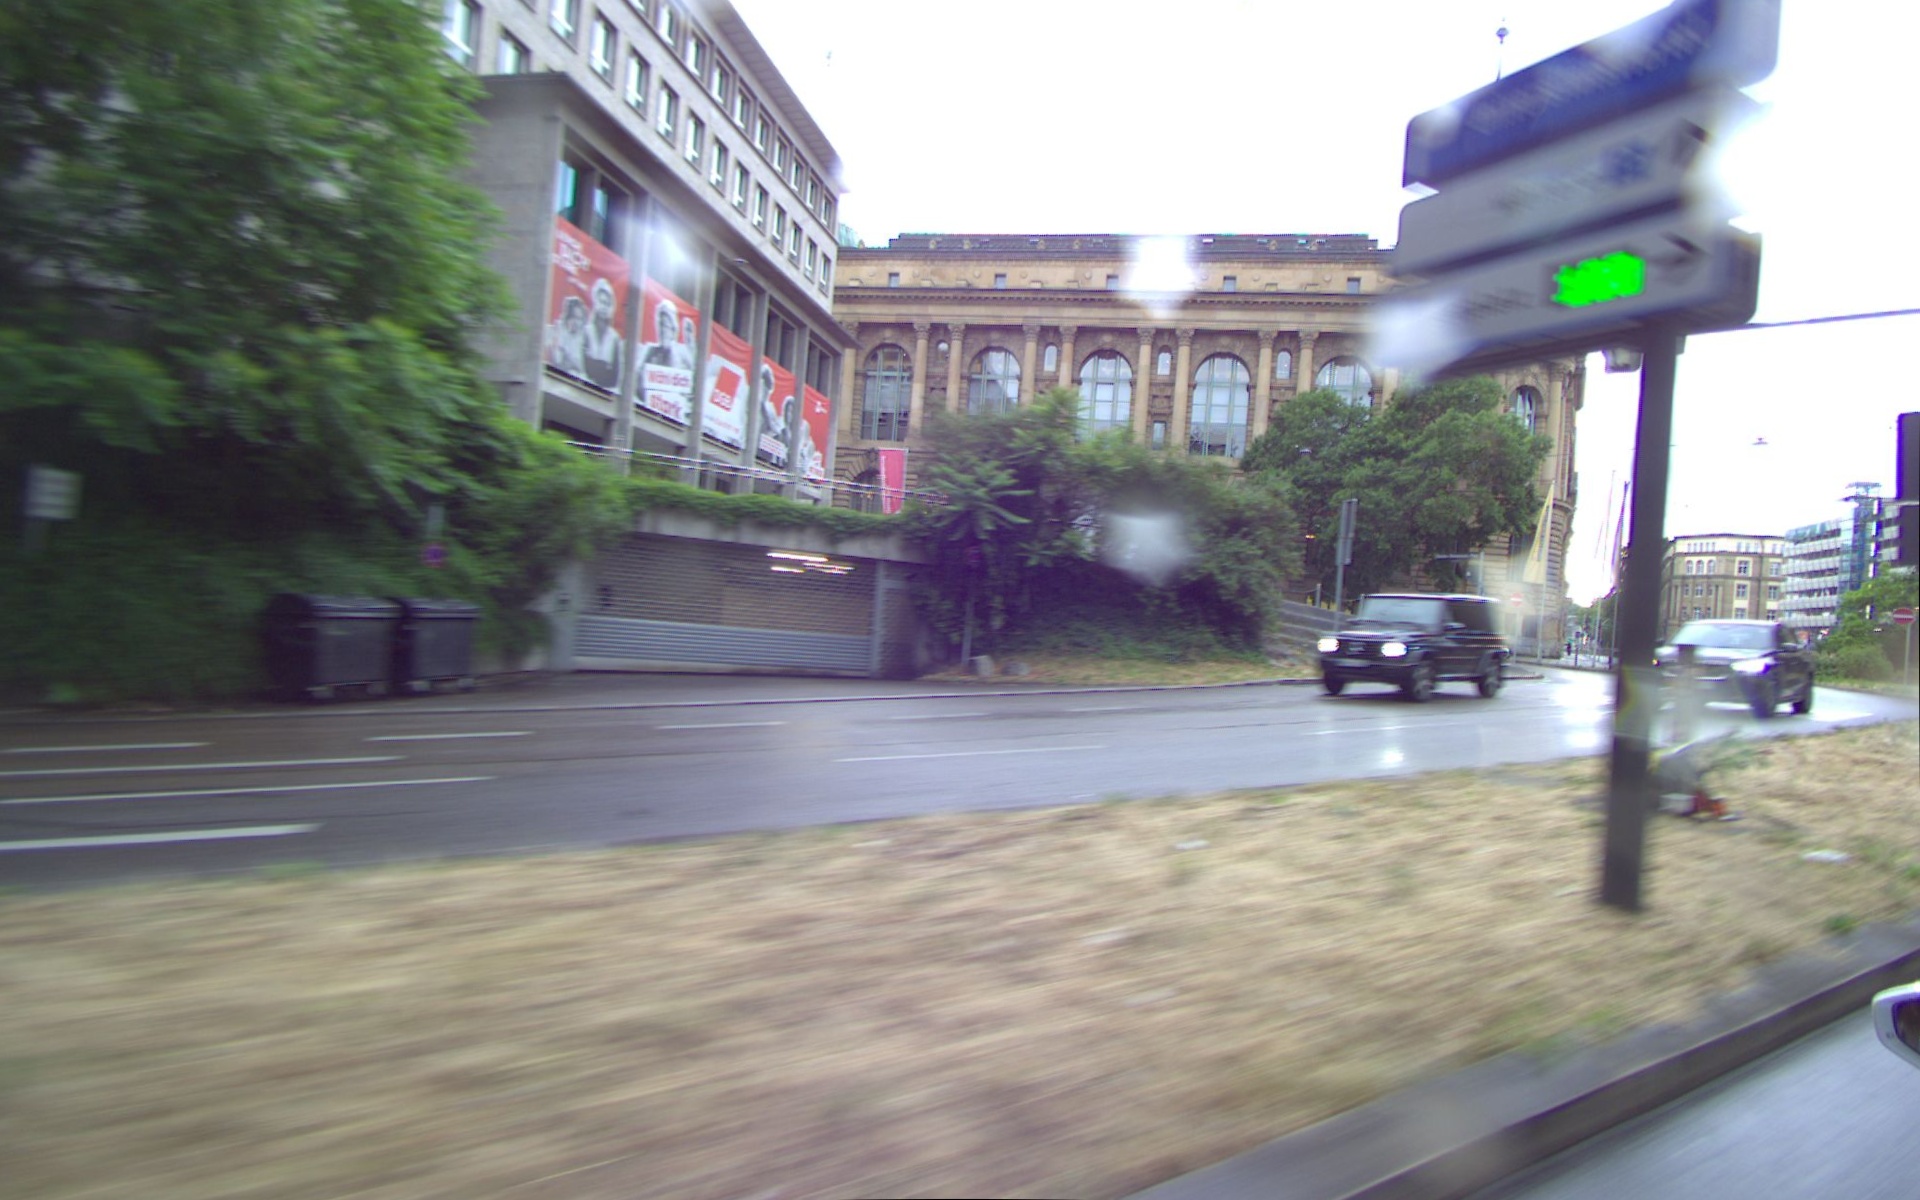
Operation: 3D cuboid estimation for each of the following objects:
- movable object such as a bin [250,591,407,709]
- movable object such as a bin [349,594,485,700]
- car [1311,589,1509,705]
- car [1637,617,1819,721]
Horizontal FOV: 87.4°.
[{"bbox_3d":[-8.609,0.665,13.752,1.144,1.469,1.341,3,-1,12],"label":"movable object such as a bin"},{"bbox_3d":[-8.162,0.693,15.144,1.271,1.469,1.207,3,-1,20],"label":"movable object such as a bin"},{"bbox_3d":[8.650,0.843,19.120,4.610,1.947,1.819,2,-1,-43],"label":"car"},{"bbox_3d":[13.788,1.136,17.947,4.356,1.609,1.828,2,-1,-42],"label":"car"}]
